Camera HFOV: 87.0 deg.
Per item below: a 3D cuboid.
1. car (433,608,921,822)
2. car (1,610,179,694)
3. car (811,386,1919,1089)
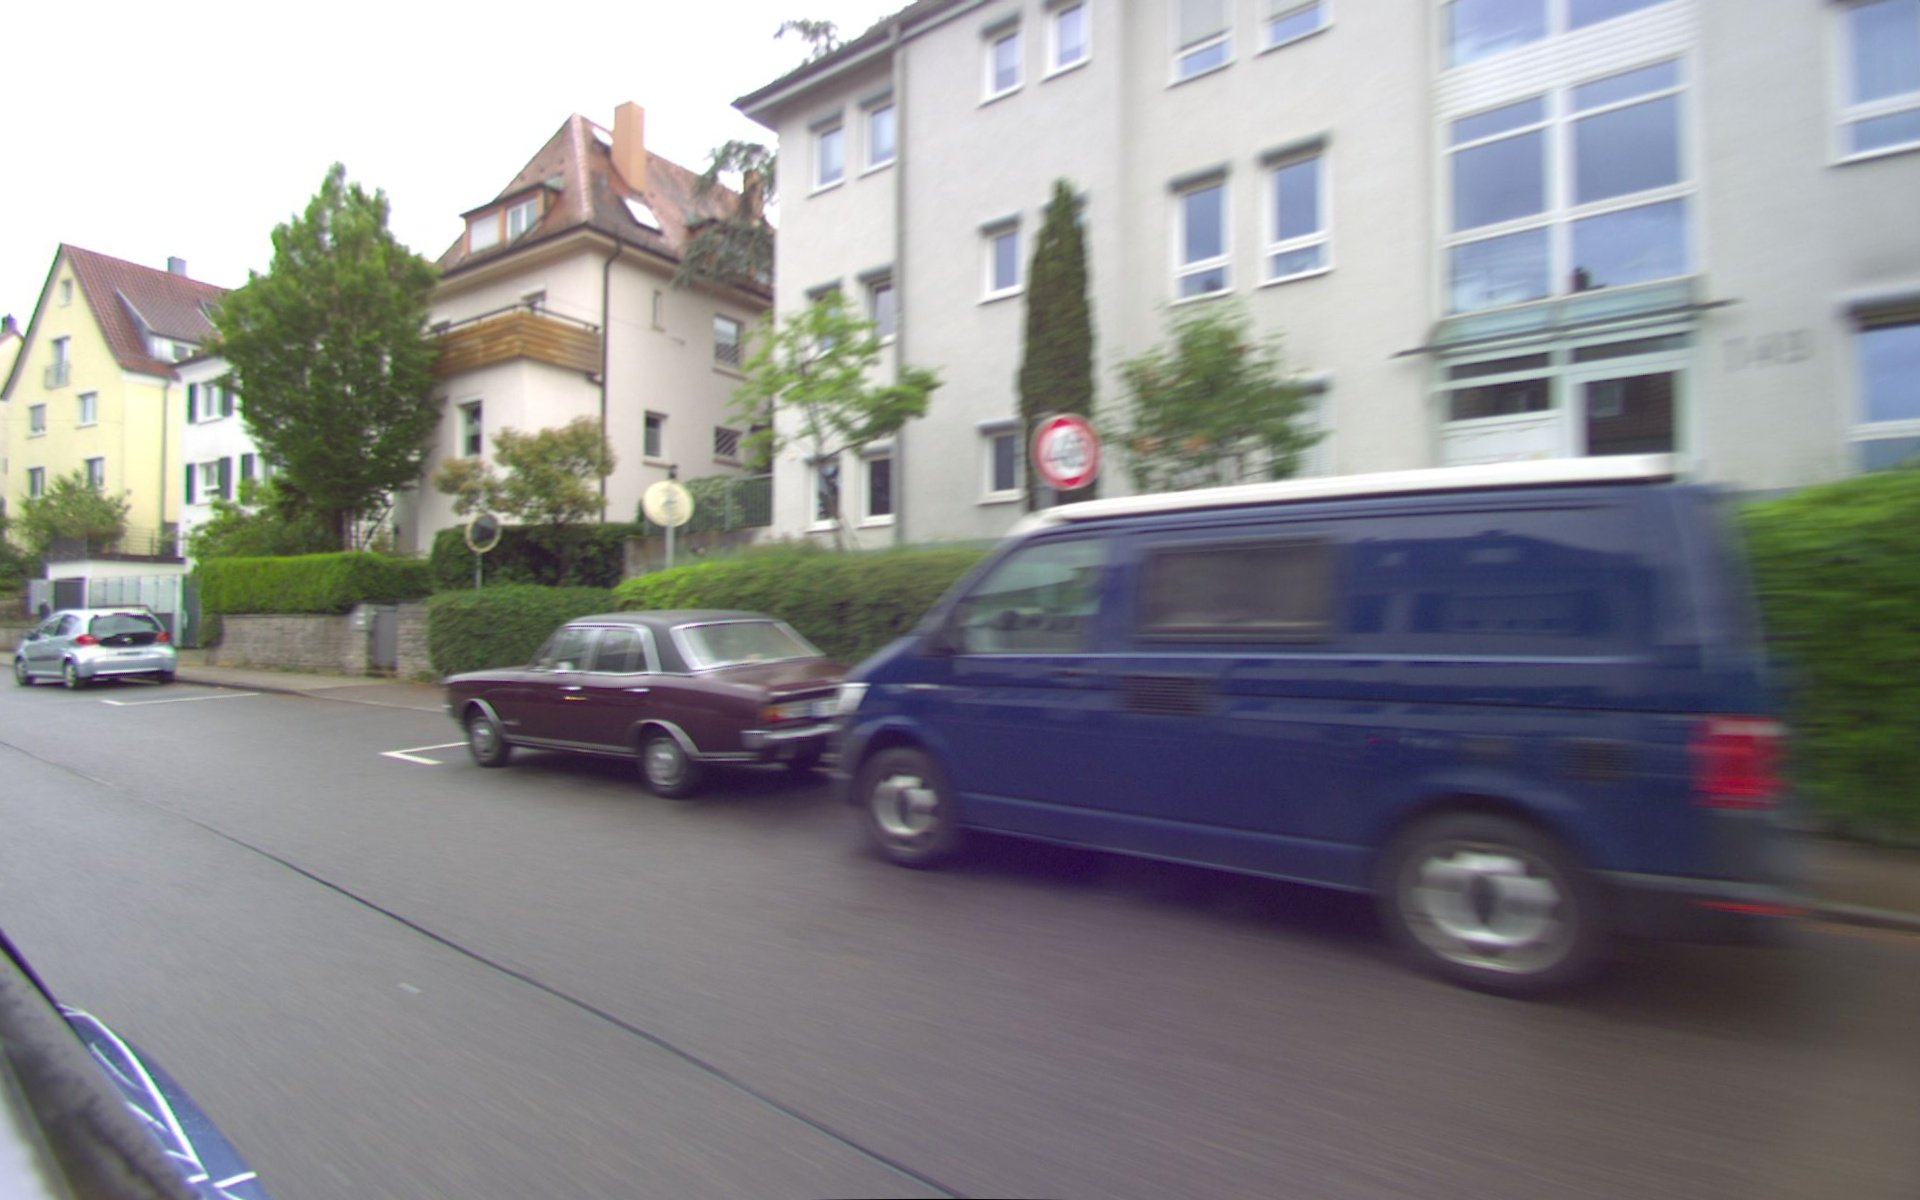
[{"bbox_3d":[-2.648,0.818,8.860,4.603,1.428,1.629,-1,-1,36],"label":"car"},{"bbox_3d":[-16.839,0.942,19.567,3.473,1.497,1.594,-1,-1,30],"label":"car"},{"bbox_3d":[1.630,0.417,5.118,5.004,2.071,1.811,-1,0,39],"label":"car"}]
